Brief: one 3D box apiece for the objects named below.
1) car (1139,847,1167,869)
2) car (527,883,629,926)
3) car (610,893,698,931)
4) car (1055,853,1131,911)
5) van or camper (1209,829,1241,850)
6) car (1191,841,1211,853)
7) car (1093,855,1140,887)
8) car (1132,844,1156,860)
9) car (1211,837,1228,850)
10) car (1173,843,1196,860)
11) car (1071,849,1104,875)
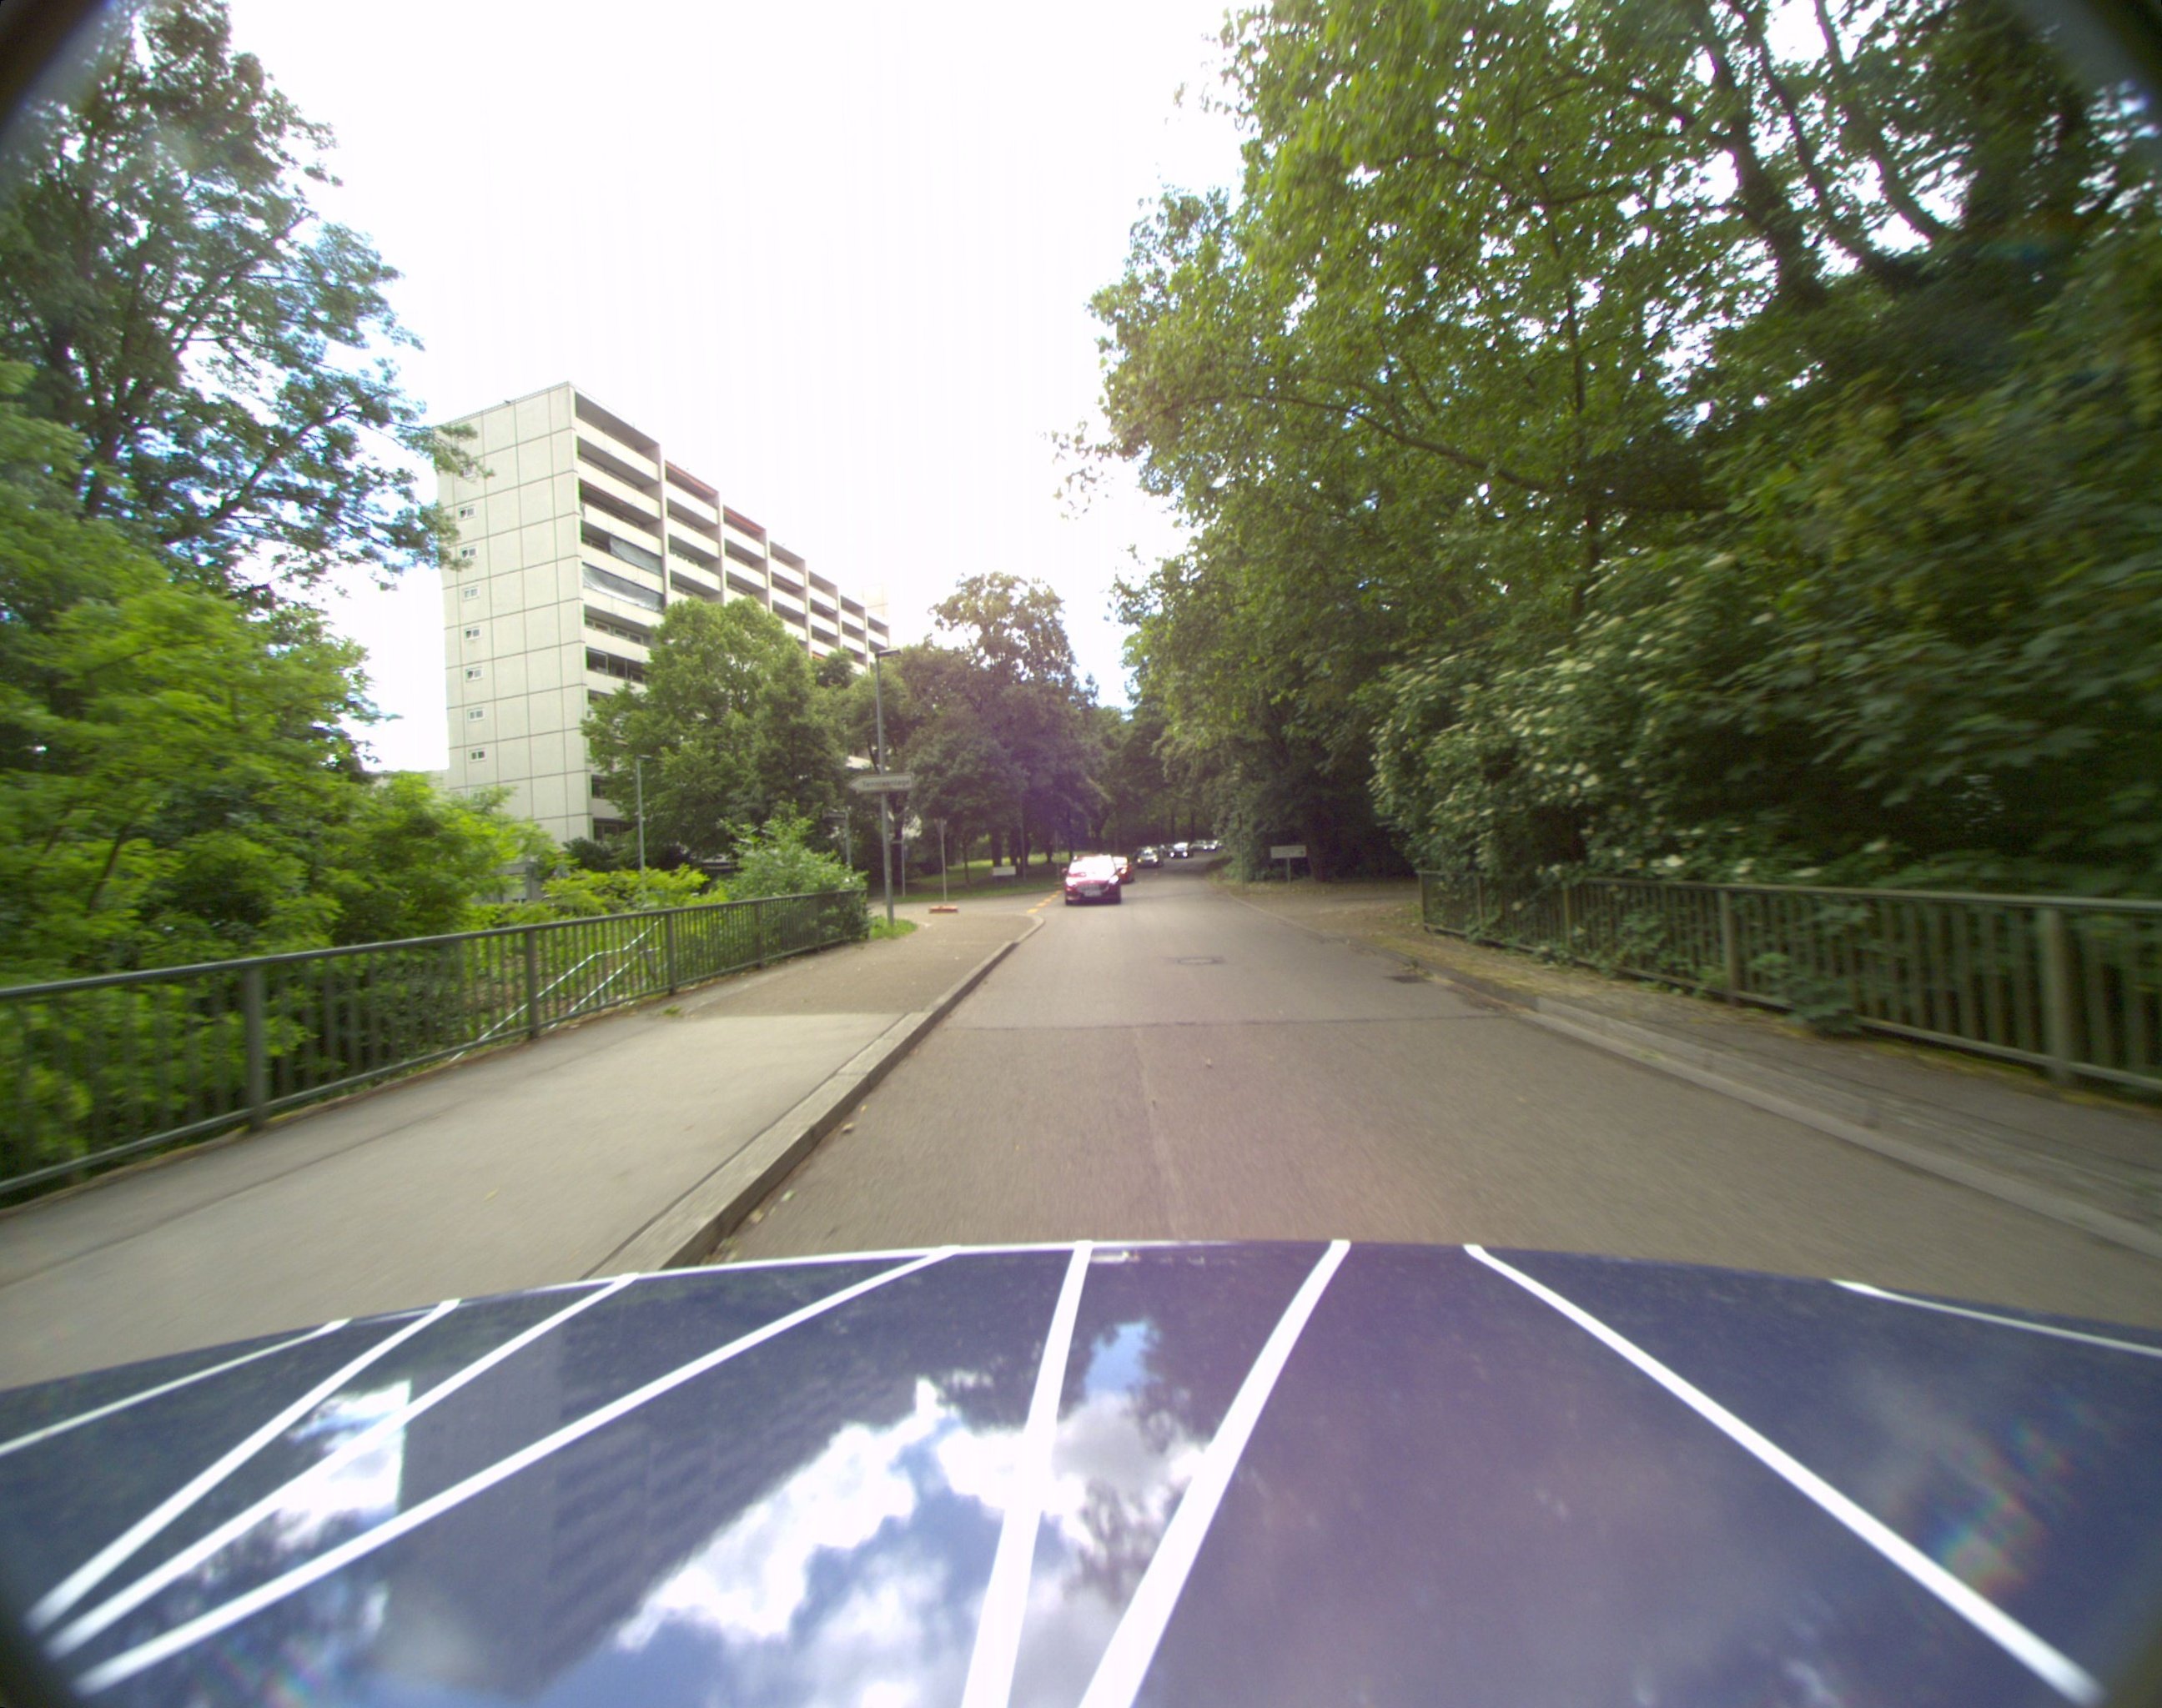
[{"bbox_3d":[5.990,0.313,63.158,1.653,1.559,4.049,-3,1,14],"label":"car"},{"bbox_3d":[-25.383,2.540,38.338,4.402,1.838,1.834,-4,0,18],"label":"car"},{"bbox_3d":[-20.759,2.813,36.971,3.521,1.561,1.835,-4,0,21],"label":"car"},{"bbox_3d":[0.517,0.874,25.674,2.002,1.599,4.679,-3,1,7],"label":"car"},{"bbox_3d":[22.382,-2.211,117.633,2.426,2.962,7.405,-3,1,29],"label":"van or camper"},{"bbox_3d":[16.874,-1.013,106.601,1.690,1.474,4.112,-3,1,23],"label":"car"},{"bbox_3d":[1.996,0.867,41.669,1.956,1.464,4.680,-3,1,10],"label":"car"},{"bbox_3d":[6.569,-0.246,78.787,1.684,1.456,3.901,-3,1,15],"label":"car"},{"bbox_3d":[17.917,-1.372,98.132,1.766,1.559,4.049,-3,1,16],"label":"car"},{"bbox_3d":[10.959,-0.277,80.504,1.766,1.559,4.049,-3,1,16],"label":"car"},{"bbox_3d":[0.480,0.484,49.993,1.778,1.514,3.782,-3,1,5],"label":"car"}]
